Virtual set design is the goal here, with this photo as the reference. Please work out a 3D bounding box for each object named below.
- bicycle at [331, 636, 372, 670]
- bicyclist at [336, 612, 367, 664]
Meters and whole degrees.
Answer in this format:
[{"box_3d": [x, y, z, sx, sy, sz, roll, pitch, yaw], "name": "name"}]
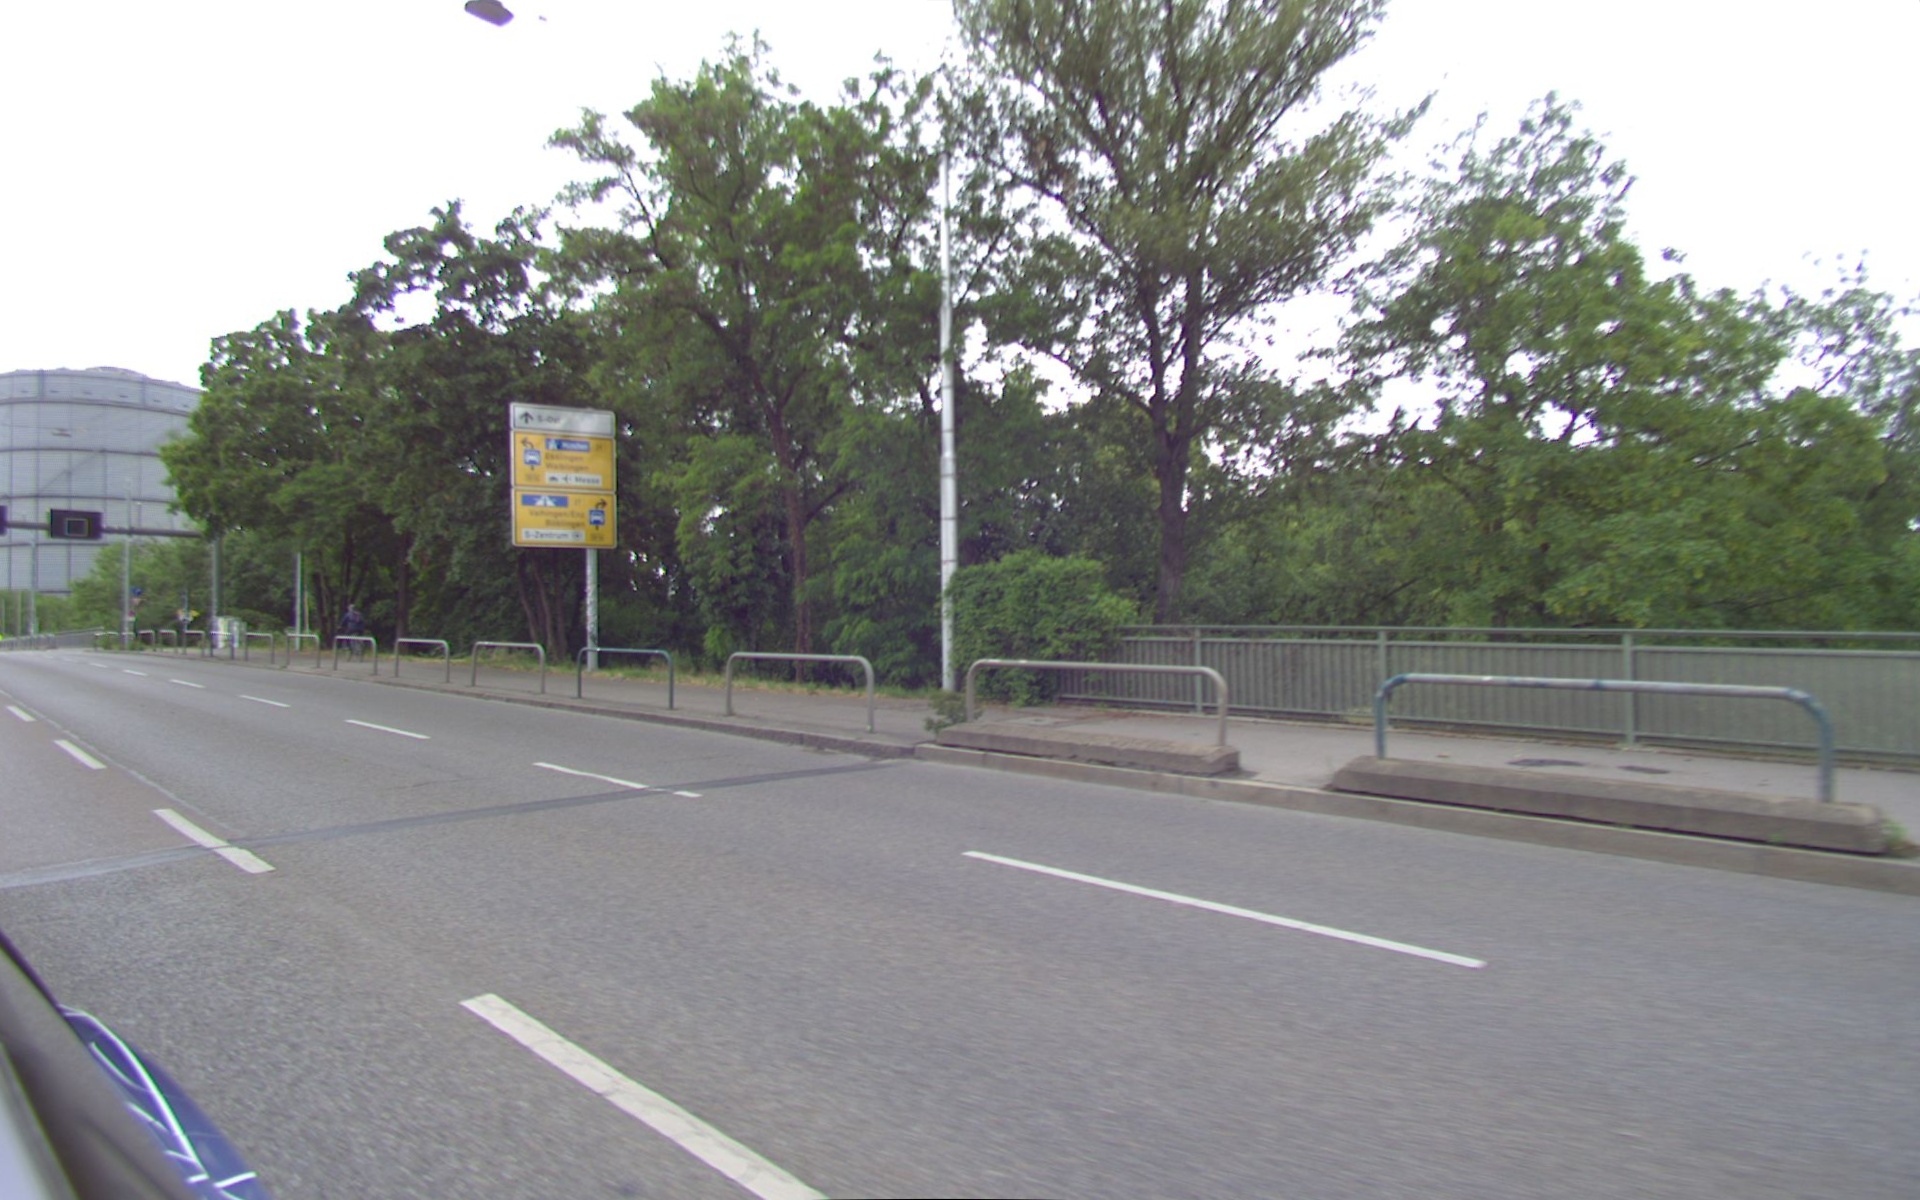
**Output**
[{"box_3d": [-18.205, 1.575, 30.262, 2.001, 1.009, 0.479, -2, -3, 41], "name": "bicycle"}, {"box_3d": [-18.213, 1.135, 30.283, 0.984, 1.528, 0.509, -2, -3, 41], "name": "bicyclist"}]
